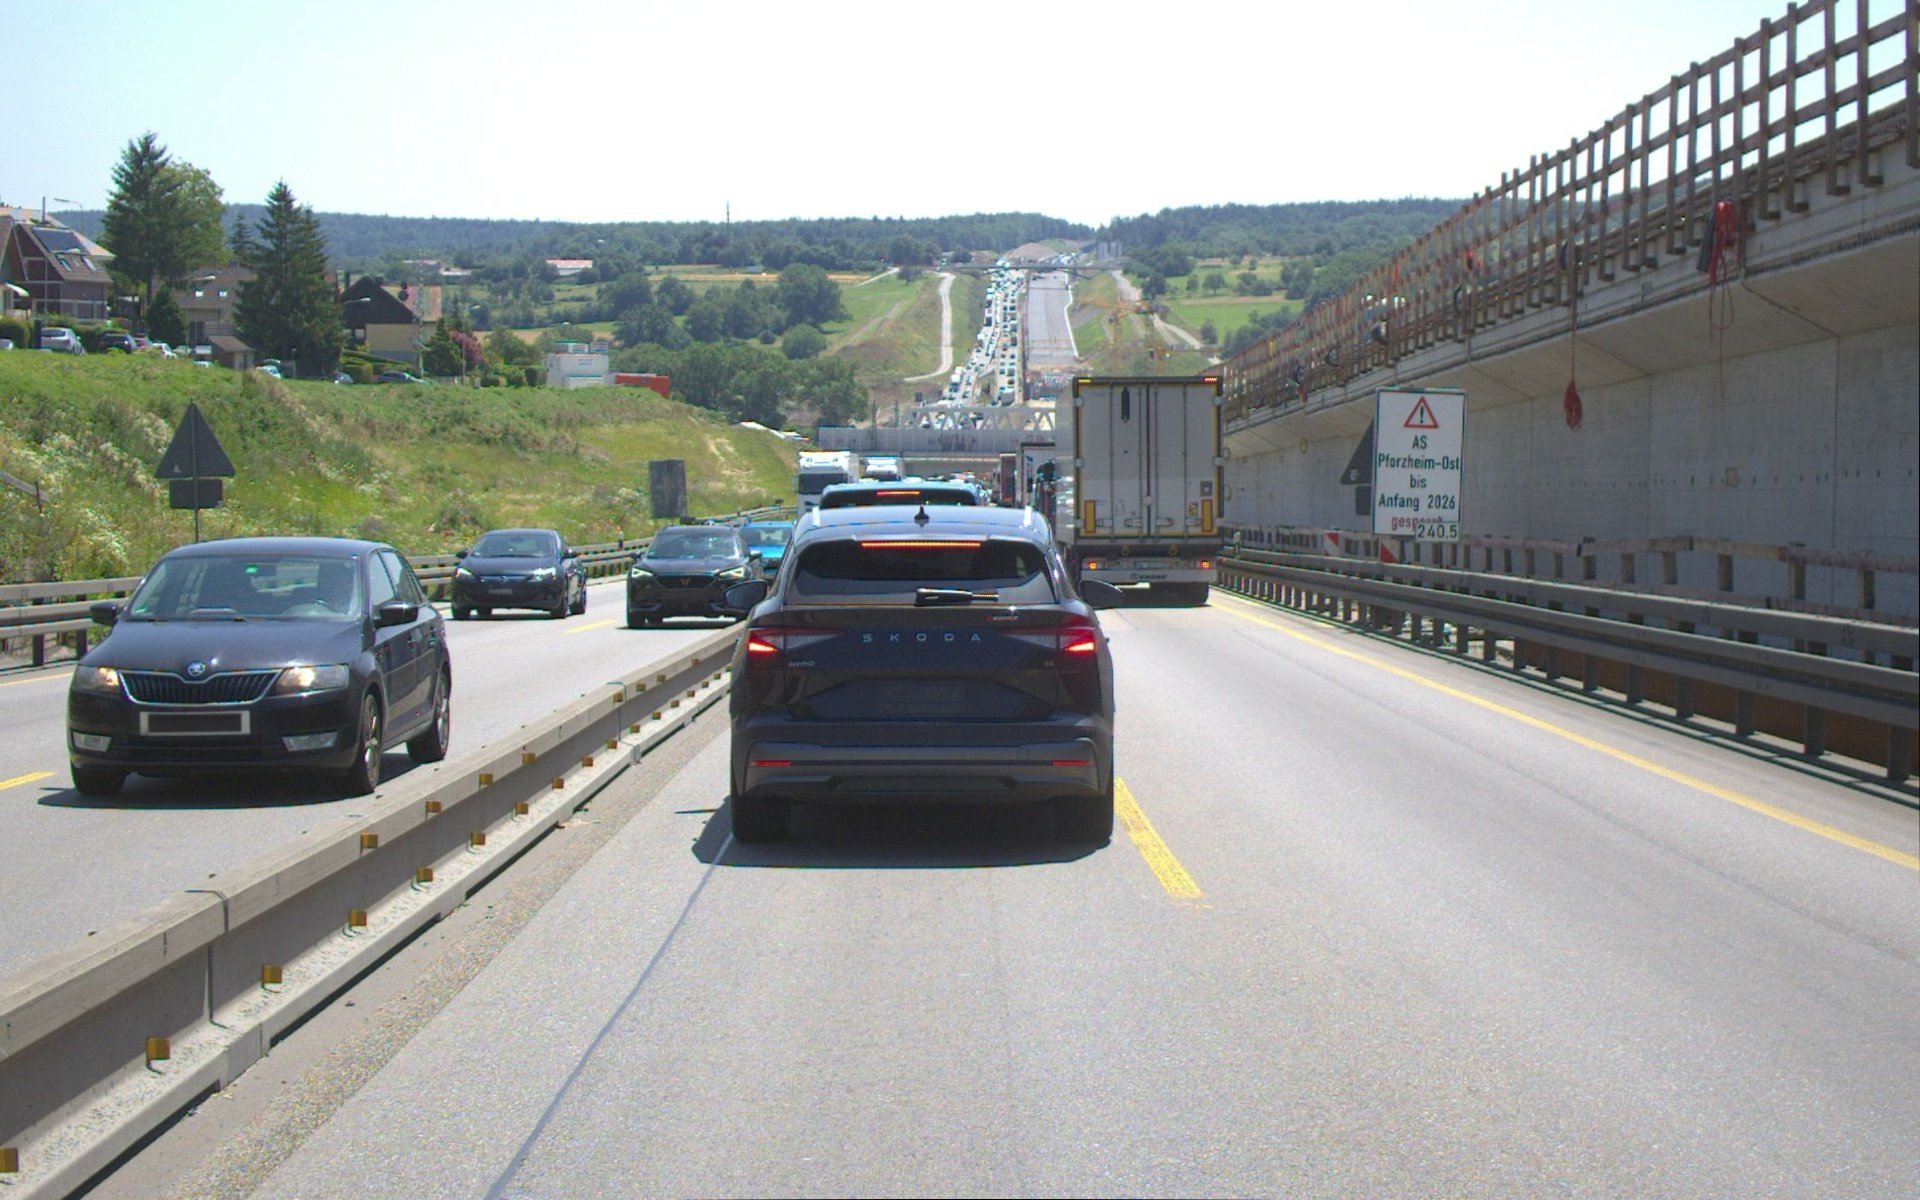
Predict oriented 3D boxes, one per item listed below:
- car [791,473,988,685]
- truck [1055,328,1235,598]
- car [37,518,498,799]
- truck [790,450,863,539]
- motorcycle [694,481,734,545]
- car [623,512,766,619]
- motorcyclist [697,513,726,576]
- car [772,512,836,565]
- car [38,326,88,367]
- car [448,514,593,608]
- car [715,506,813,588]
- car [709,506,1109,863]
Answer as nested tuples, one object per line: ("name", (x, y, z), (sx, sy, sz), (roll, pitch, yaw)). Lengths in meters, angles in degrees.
("car", (-0.719, -0.230, 33.636), (1.749, 1.888, 3.756), (2, 1, -2))
("truck", (3.327, -2.410, 64.807), (2.846, 4.599, 11.811), (1, 1, 1))
("car", (-4.029, 0.303, 20.777), (1.606, 1.441, 4.669), (-2, 0, 2))
("truck", (-6.602, -5.132, 168.773), (3.180, 4.223, 6.486), (0, 1, -6))
("motorcycle", (-6.145, -2.188, 85.832), (0.790, 1.546, 2.621), (1, 2, 0))
("car", (-3.930, -0.520, 51.472), (1.842, 1.525, 4.294), (0, 1, 0))
("motorcyclist", (-6.192, -1.382, 85.631), (0.665, 1.579, 0.736), (0, 0, 0))
("car", (-4.494, -1.787, 99.386), (1.766, 1.481, 3.866), (0, 1, -1))
("car", (-41.439, -11.706, 158.873), (1.924, 1.722, 4.001), (0, 1, -10))
("car", (-7.250, -0.651, 57.146), (1.813, 1.443, 5.007), (2, 1, -1))
("car", (-3.921, -1.080, 69.243), (1.763, 1.604, 3.892), (0, 1, 0))
("car", (-0.253, 0.338, 17.232), (1.782, 1.592, 3.755), (0, 1, -1))
